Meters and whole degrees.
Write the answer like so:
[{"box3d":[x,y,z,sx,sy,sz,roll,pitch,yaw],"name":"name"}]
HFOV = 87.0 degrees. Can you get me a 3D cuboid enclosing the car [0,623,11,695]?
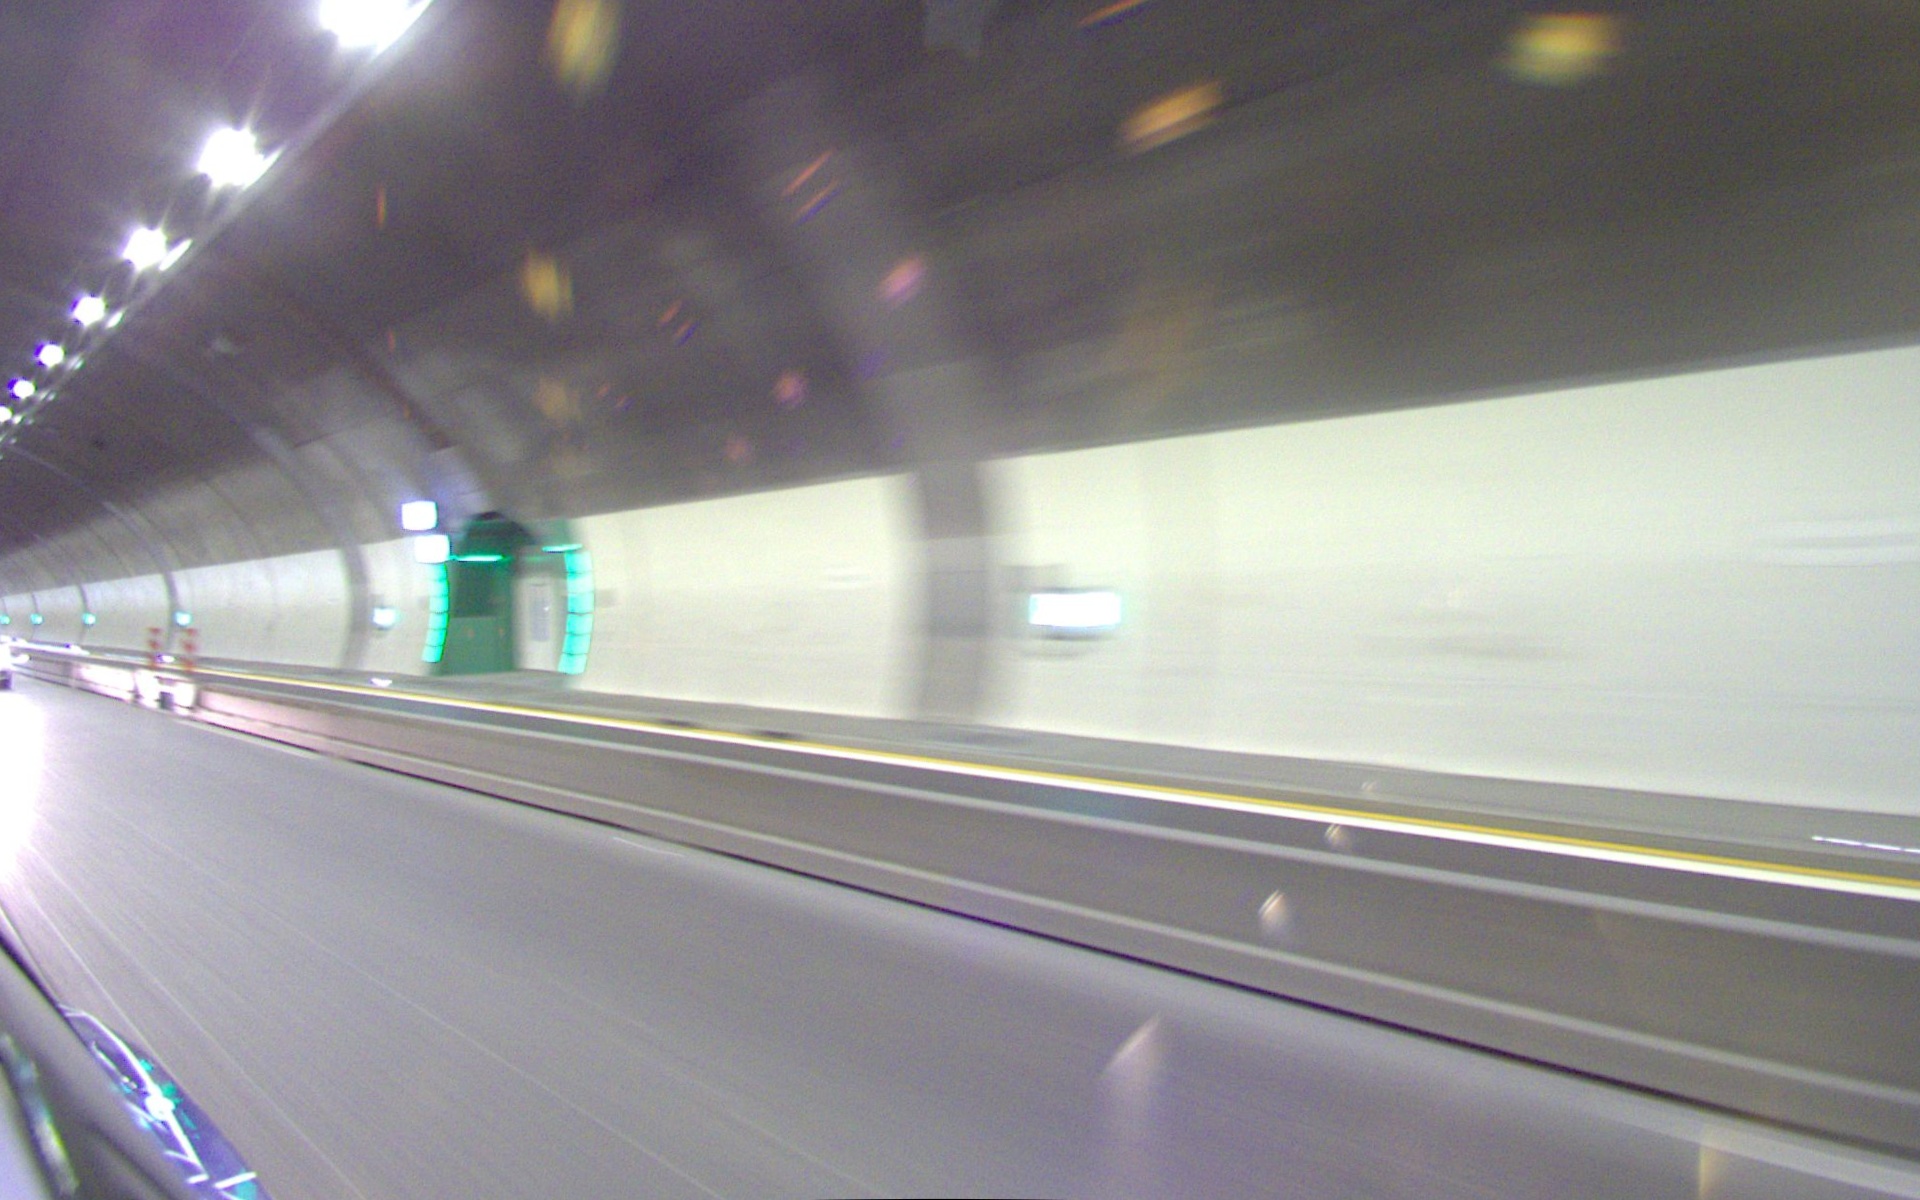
[{"box3d":[-22.283,1.272,21.996,4.940,1.496,1.884,-2,-2,40],"name":"car"}]
